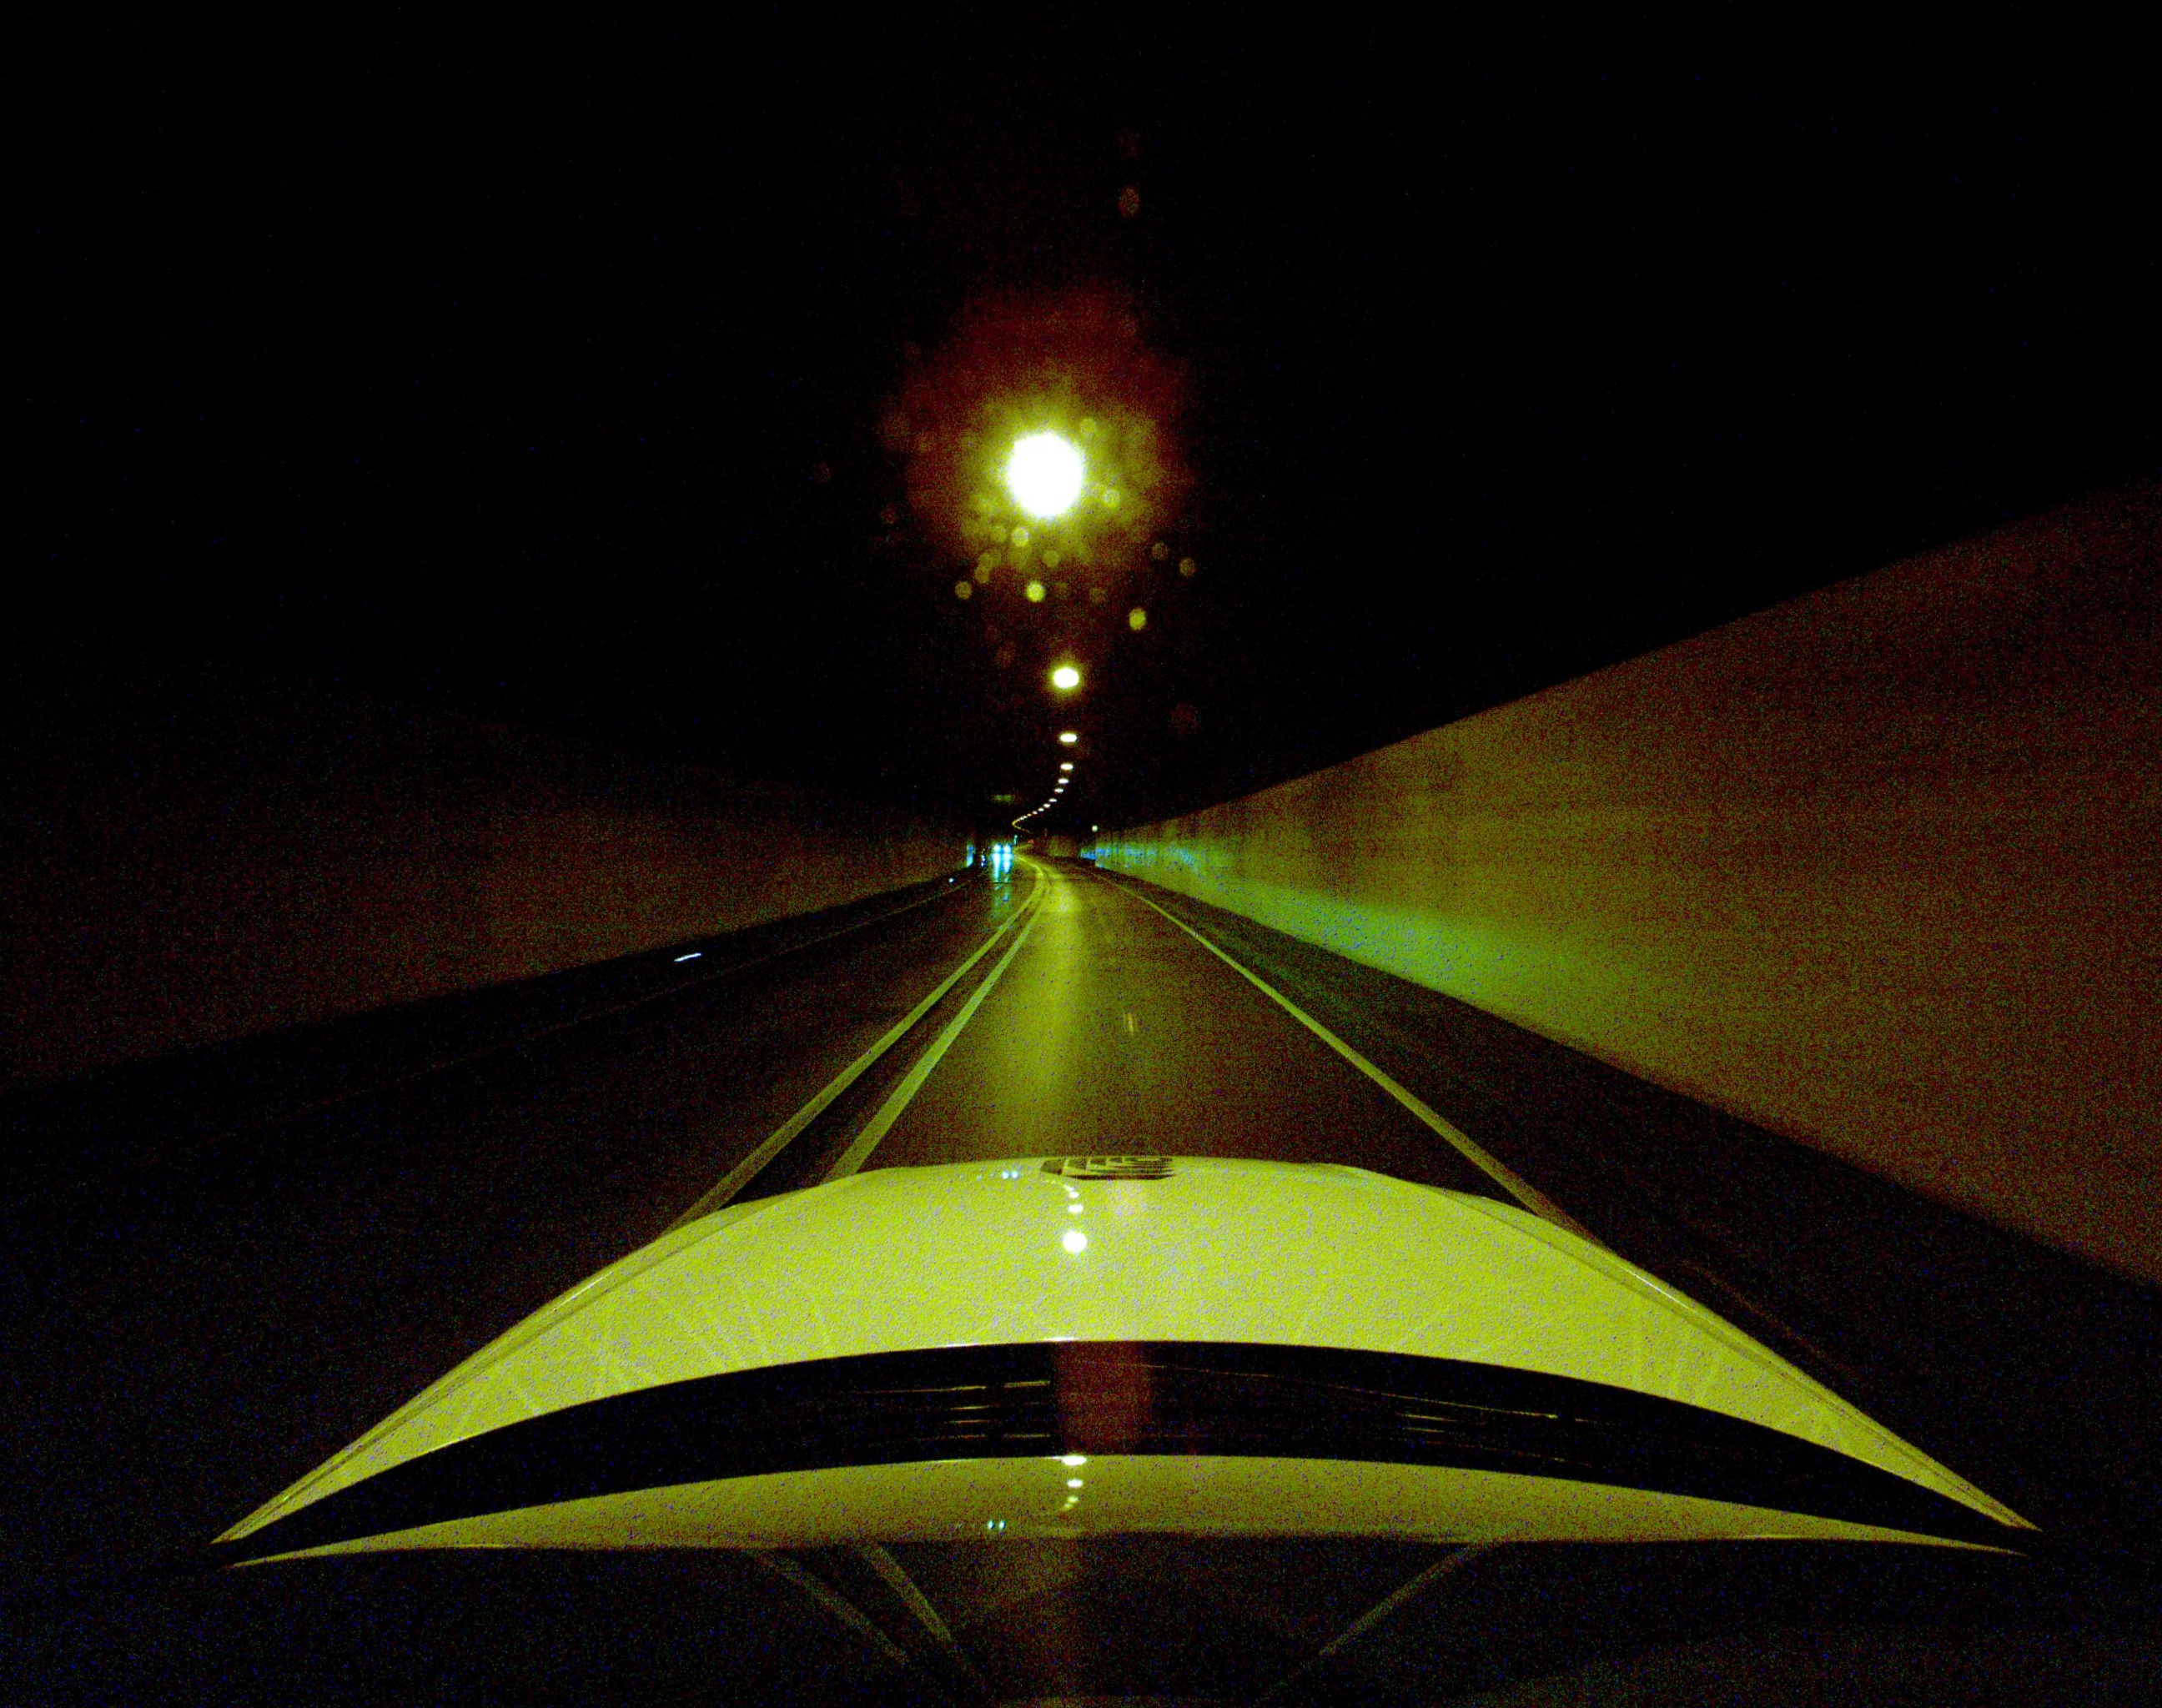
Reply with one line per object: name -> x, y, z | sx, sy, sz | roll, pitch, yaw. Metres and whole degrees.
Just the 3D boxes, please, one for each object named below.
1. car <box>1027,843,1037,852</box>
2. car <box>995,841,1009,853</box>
car -> -8.967, -1.143, 148.683 | 1.594, 1.455, 3.612 | 1, -1, -7
car -> -11.218, -0.923, 116.102 | 1.990, 1.596, 3.992 | 1, -1, -5
